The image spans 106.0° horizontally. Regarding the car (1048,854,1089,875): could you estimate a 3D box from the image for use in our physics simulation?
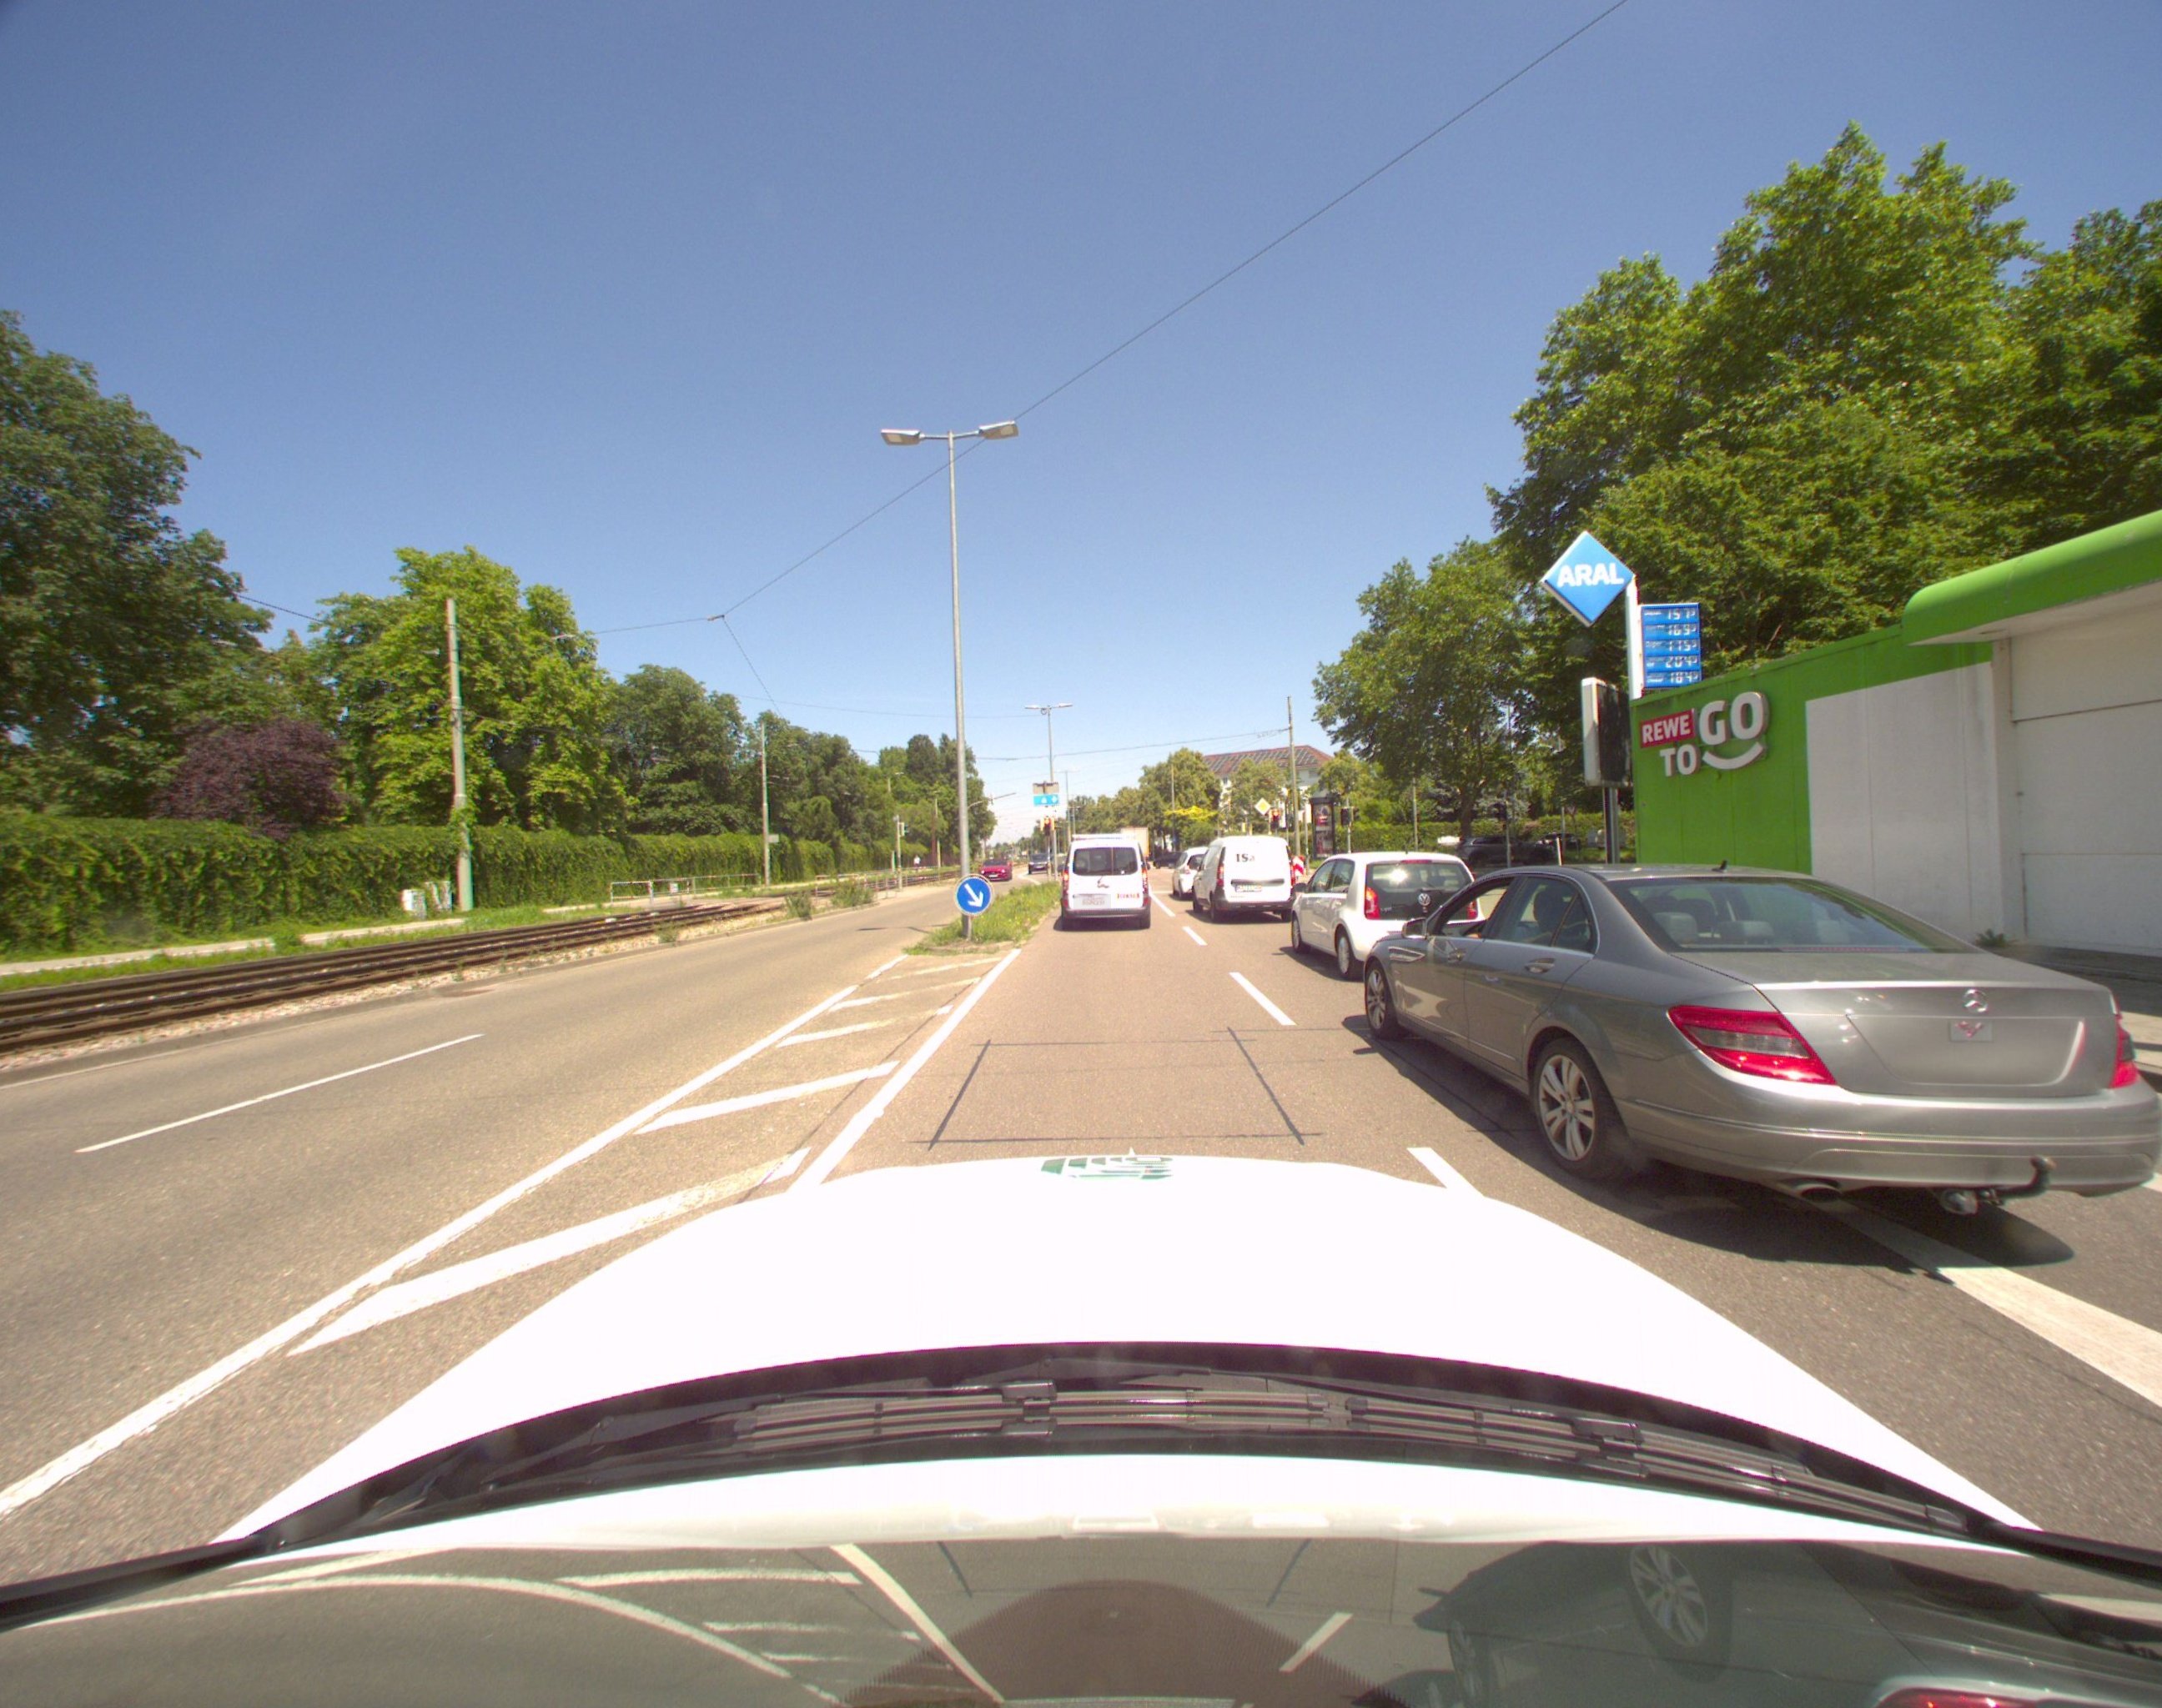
[{"bbox_3d":[-0.889,0.704,55.475,1.544,1.379,3.975,-2,0,-20],"label":"car"}]

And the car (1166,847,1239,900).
[{"bbox_3d":[3.745,0.565,25.770,1.749,1.486,4.001,-2,0,1],"label":"car"}]

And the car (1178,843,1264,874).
[{"bbox_3d":[8.095,0.262,47.127,4.397,1.617,2.013,-2,0,33],"label":"car"}]

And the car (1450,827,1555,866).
[{"bbox_3d":[21.803,-0.364,42.316,4.490,1.829,2.009,-2,0,16],"label":"car"}]

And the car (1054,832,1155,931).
[{"bbox_3d":[0.469,0.511,17.273,1.860,1.836,3.849,-1,0,0],"label":"car"}]

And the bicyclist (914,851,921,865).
[{"bbox_3d":[-18.319,0.444,91.274,0.556,1.478,0.562,-2,0,2],"label":"bicyclist"}]

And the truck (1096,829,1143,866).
[{"bbox_3d":[4.055,-0.641,88.230,3.572,3.632,8.789,-2,0,-6],"label":"truck"}]

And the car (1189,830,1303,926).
[{"bbox_3d":[3.510,0.456,18.016,1.704,1.830,4.014,-2,0,1],"label":"car"}]

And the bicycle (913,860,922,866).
[{"bbox_3d":[-18.300,0.977,91.337,0.559,0.647,1.721,-2,0,2],"label":"bicycle"}]

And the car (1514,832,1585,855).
[{"bbox_3d":[33.962,-0.726,59.132,3.963,1.508,2.005,-2,0,9],"label":"car"}]

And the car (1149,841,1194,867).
[{"bbox_3d":[7.381,-0.003,66.508,2.001,2.013,3.972,-2,0,-21],"label":"car"}]

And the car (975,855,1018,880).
[{"bbox_3d":[-5.233,0.816,51.050,1.976,1.358,4.541,-2,0,2],"label":"car"}]

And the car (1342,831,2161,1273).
[{"bbox_3d":[3.136,0.665,4.966,1.788,1.449,4.420,-2,0,2],"label":"car"}]

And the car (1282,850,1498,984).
[{"bbox_3d":[3.802,0.681,10.647,1.600,1.451,3.523,-1,0,2],"label":"car"}]

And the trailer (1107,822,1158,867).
[{"bbox_3d":[4.882,-0.848,79.425,3.522,4.050,8.960,-2,0,-5],"label":"trailer"}]

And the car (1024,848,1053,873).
[{"bbox_3d":[-3.452,0.537,65.425,1.991,1.860,3.991,-2,0,-7],"label":"car"}]
